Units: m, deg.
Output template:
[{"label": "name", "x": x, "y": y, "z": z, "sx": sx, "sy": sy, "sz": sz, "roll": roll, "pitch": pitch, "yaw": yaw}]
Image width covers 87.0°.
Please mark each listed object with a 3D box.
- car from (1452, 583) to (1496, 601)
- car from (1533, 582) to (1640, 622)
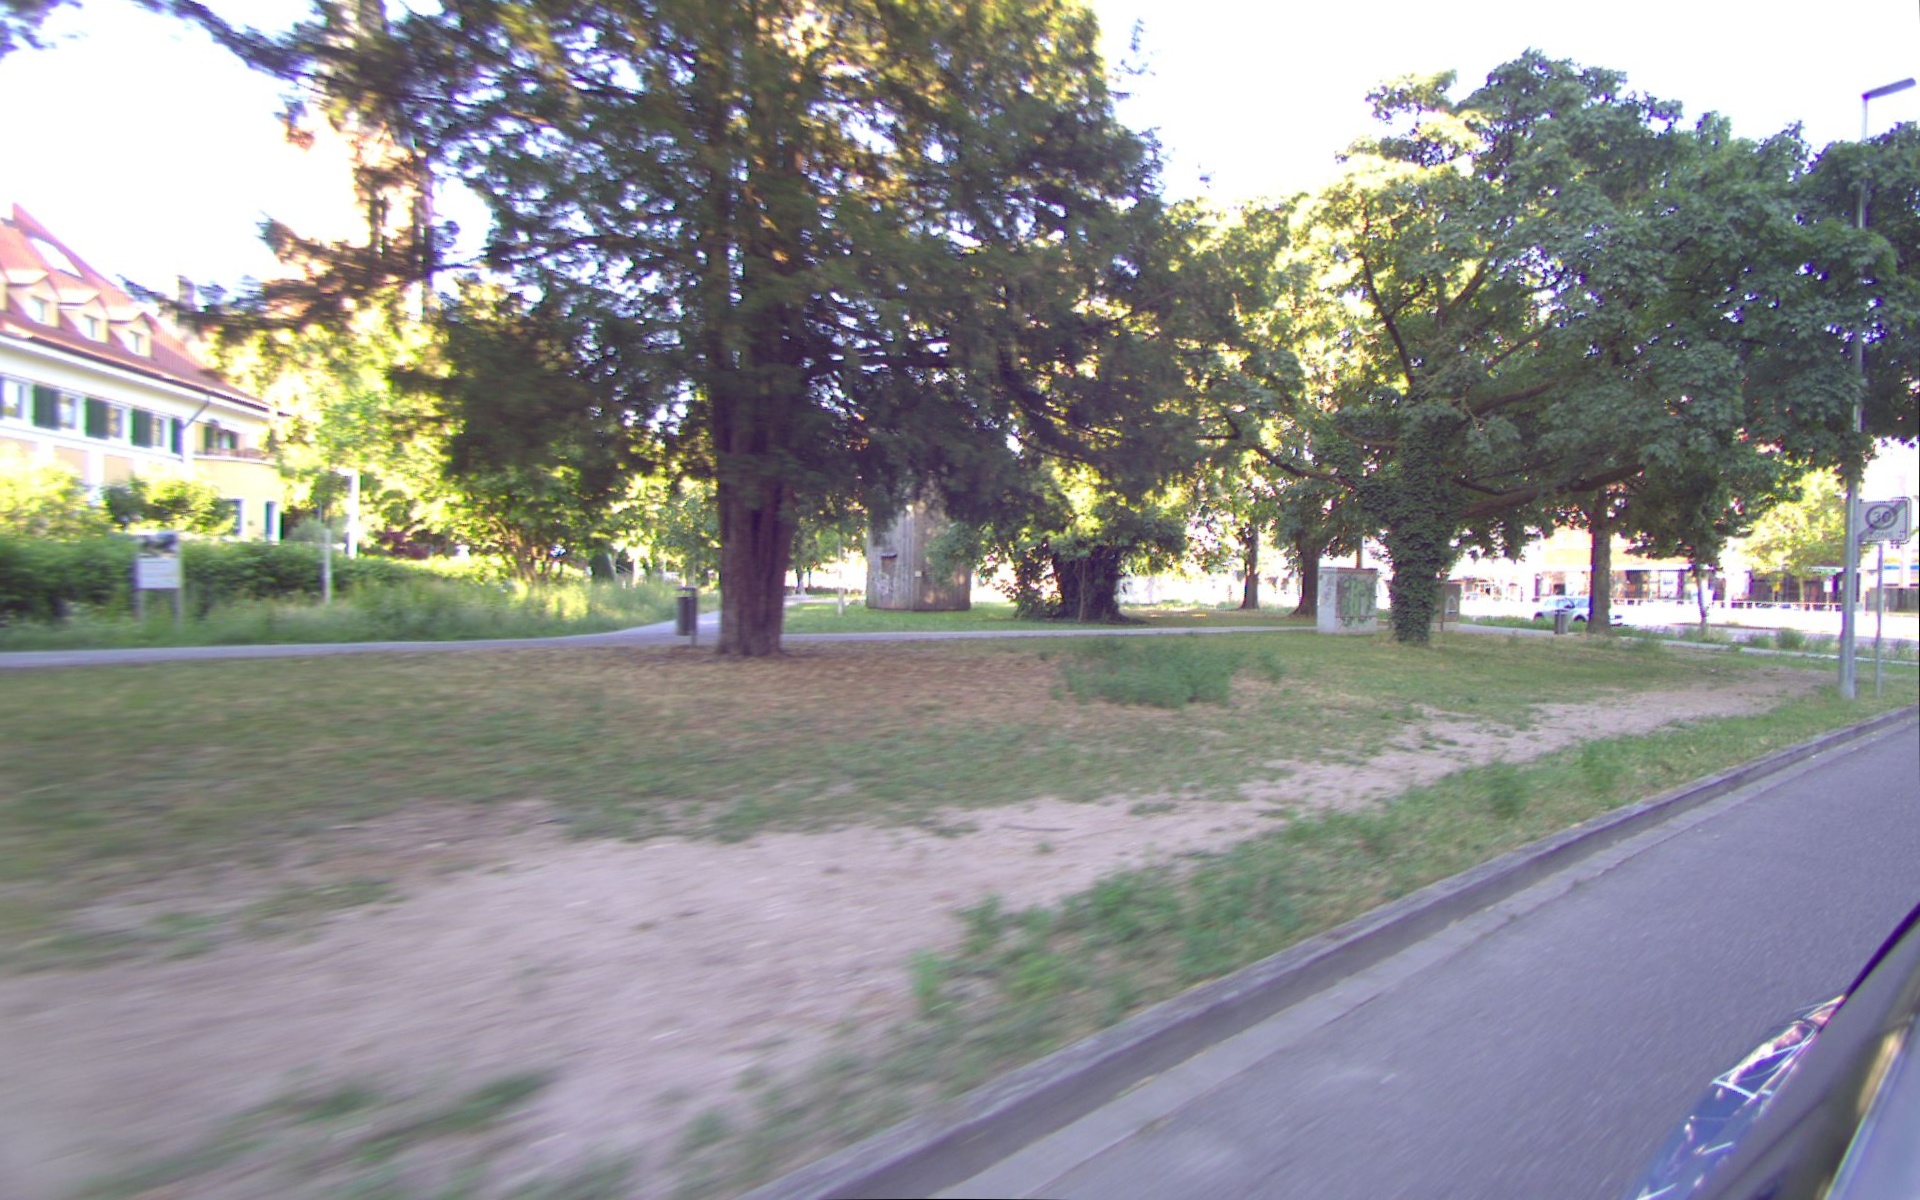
[{"label": "car", "x": 55.868, "y": -0.884, "z": 110.172, "sx": 1.960, "sy": 1.820, "sz": 4.748, "roll": 1, "pitch": 1, "yaw": -6}, {"label": "car", "x": 26.801, "y": 0.042, "z": 43.472, "sx": 1.799, "sy": 1.556, "sz": 4.282, "roll": -1, "pitch": 2, "yaw": -3}]
